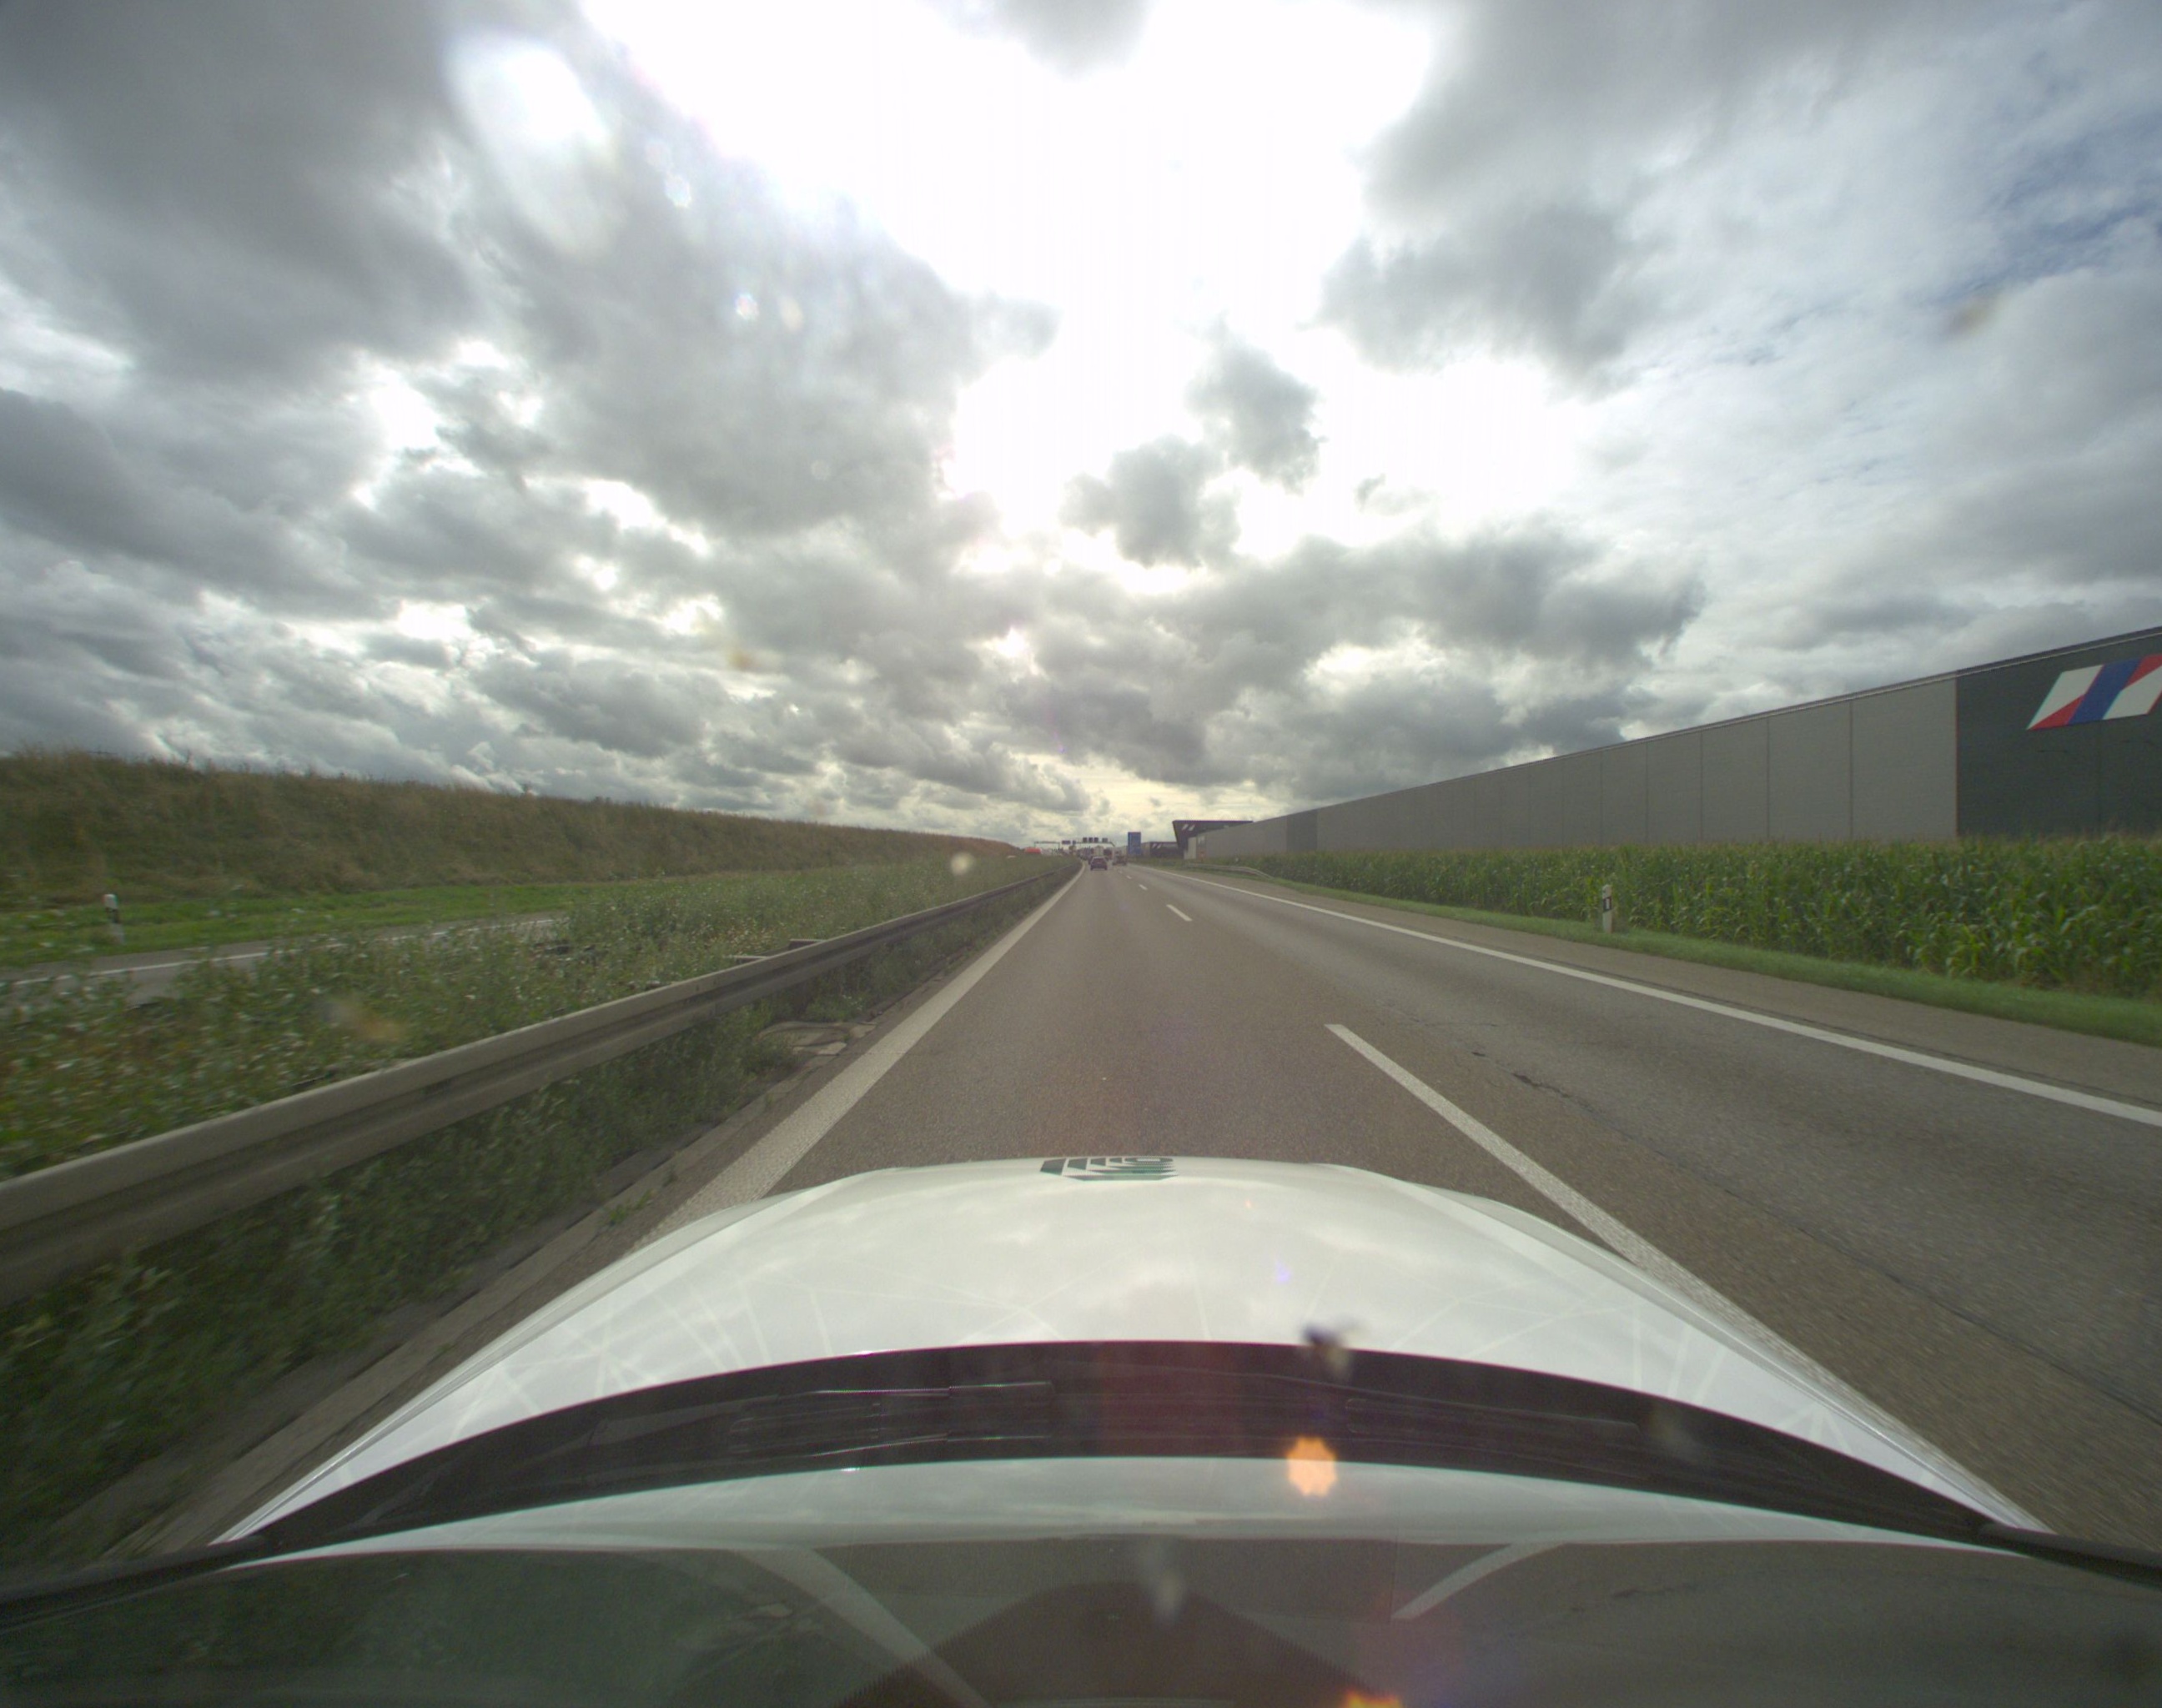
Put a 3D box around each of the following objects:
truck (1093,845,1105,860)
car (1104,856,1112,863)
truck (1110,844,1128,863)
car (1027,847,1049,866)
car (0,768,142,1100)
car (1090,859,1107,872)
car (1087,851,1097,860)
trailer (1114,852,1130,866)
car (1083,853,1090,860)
[{"bbox_3d":[5.601,-0.493,249.320,3.330,4.534,8.012,0,-1,-1],"label":"truck"},{"bbox_3d":[6.613,1.420,202.102,1.795,1.685,4.000,-1,0,0],"label":"car"},{"bbox_3d":[6.172,-0.048,131.718,2.475,2.950,5.811,0,-1,-1],"label":"truck"},{"bbox_3d":[-5.156,0.283,98.097,2.116,2.267,5.454,0,0,1],"label":"car"},{"bbox_3d":[-7.619,0.474,2.903,1.986,2.014,5.534,0,0,2],"label":"car"},{"bbox_3d":[1.884,1.238,88.279,1.740,1.453,4.000,0,0,1],"label":"car"},{"bbox_3d":[1.996,0.323,148.030,1.939,1.685,4.000,0,0,1],"label":"car"},{"bbox_3d":[6.214,0.829,124.816,2.330,2.136,4.000,0,-1,1],"label":"trailer"},{"bbox_3d":[1.598,0.748,229.949,1.936,1.775,3.696,0,-1,0],"label":"car"}]
